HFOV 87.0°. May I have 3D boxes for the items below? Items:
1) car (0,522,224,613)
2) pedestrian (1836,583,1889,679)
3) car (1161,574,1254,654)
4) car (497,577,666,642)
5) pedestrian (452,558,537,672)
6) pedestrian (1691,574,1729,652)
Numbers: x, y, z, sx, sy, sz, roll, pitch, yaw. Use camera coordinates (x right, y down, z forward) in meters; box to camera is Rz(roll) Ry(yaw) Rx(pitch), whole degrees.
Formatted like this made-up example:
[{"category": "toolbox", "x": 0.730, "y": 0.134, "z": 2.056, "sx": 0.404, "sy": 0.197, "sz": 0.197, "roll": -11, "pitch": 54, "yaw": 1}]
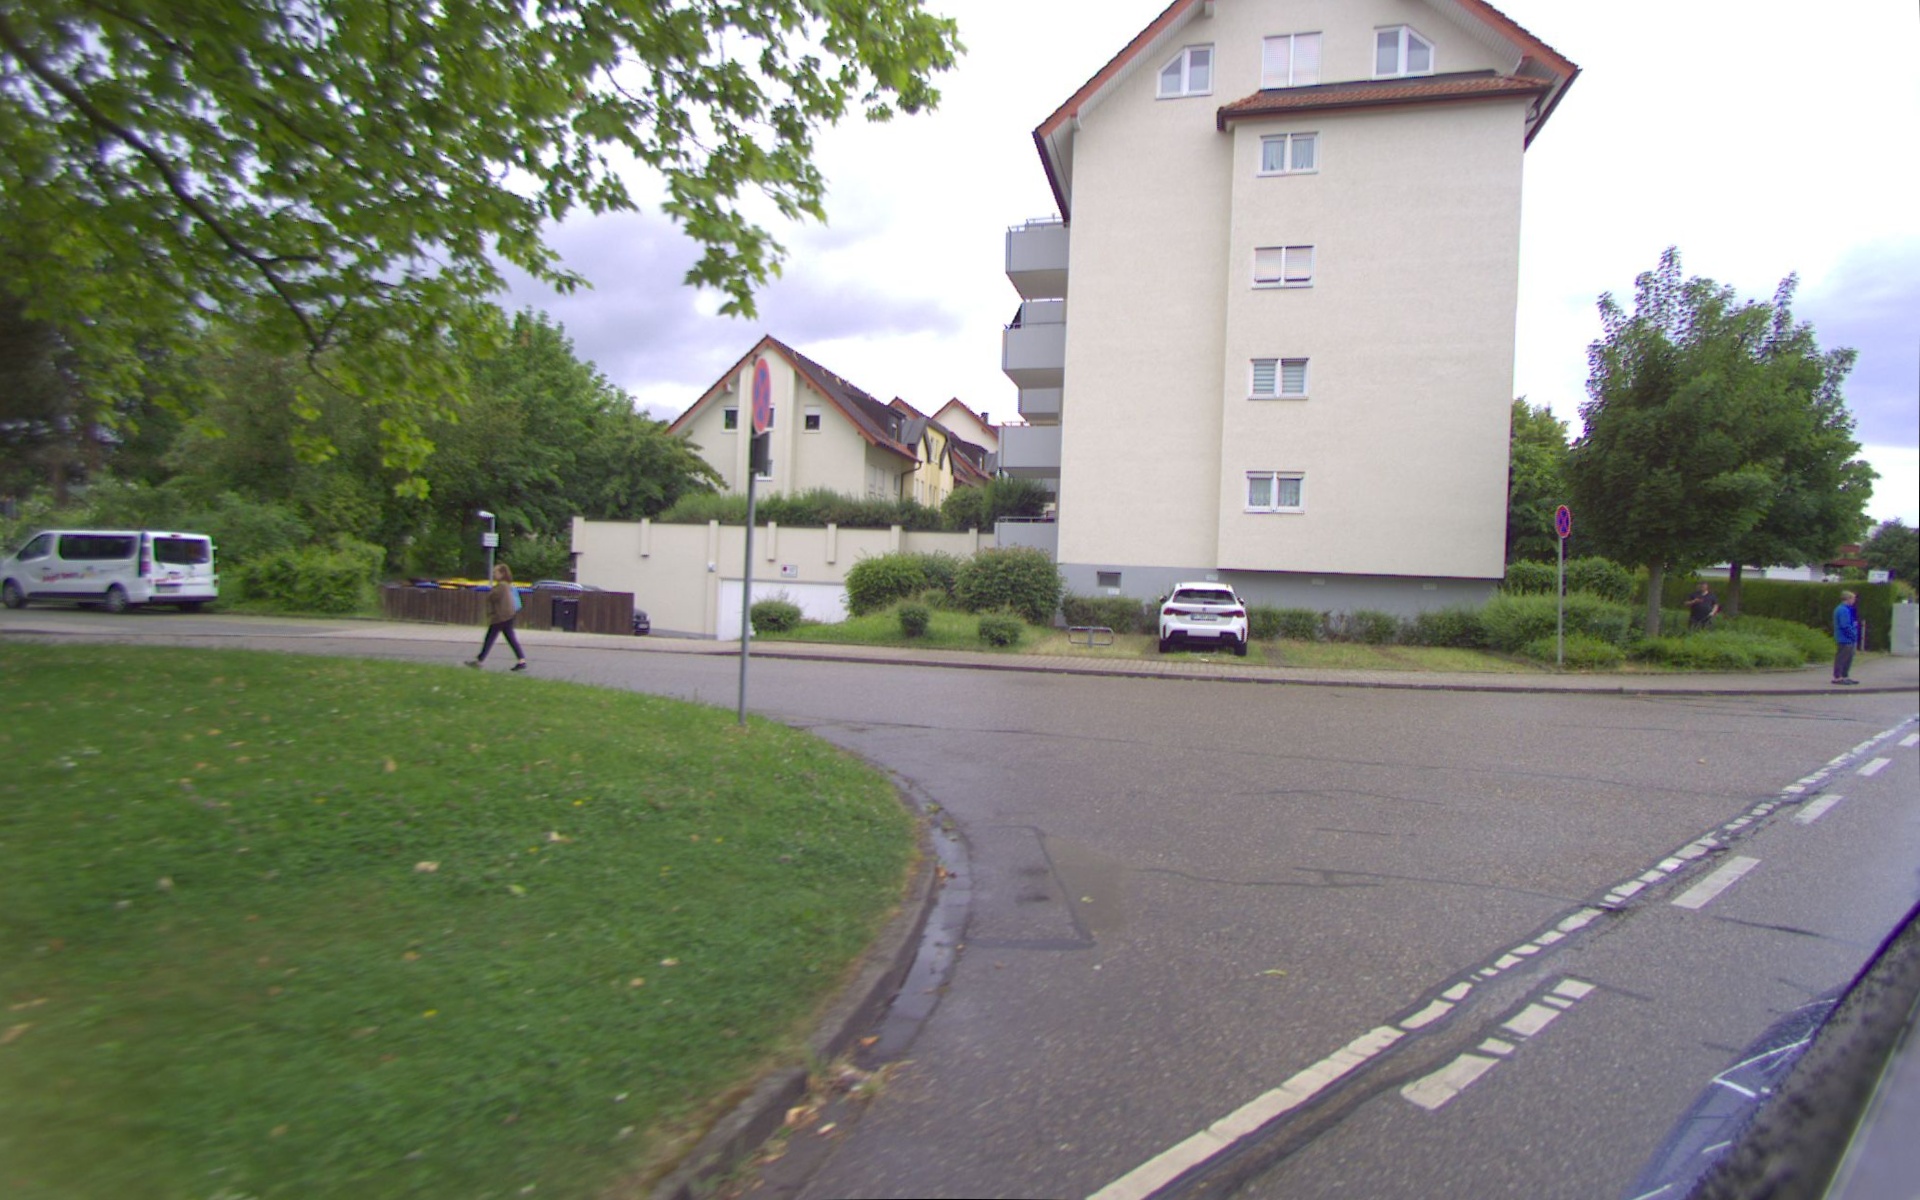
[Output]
[{"category": "car", "x": -20.981, "y": -0.813, "z": 24.896, "sx": 4.928, "sy": 2.039, "sz": 2.075, "roll": 2, "pitch": 1, "yaw": 17}, {"category": "pedestrian", "x": 16.390, "y": 0.549, "z": 18.392, "sx": 0.587, "sy": 1.687, "sz": 0.766, "roll": 1, "pitch": 0, "yaw": 32}, {"category": "car", "x": 5.259, "y": 0.220, "z": 21.789, "sx": 1.720, "sy": 1.499, "sz": 3.756, "roll": 3, "pitch": 2, "yaw": 12}, {"category": "car", "x": -12.132, "y": 0.266, "z": 32.461, "sx": 4.862, "sy": 1.846, "sz": 1.992, "roll": 2, "pitch": 1, "yaw": 17}, {"category": "pedestrian", "x": -6.708, "y": 0.205, "z": 14.629, "sx": 0.931, "sy": 1.603, "sz": 0.739, "roll": 1, "pitch": 0, "yaw": -8}, {"category": "pedestrian", "x": 17.682, "y": 0.303, "z": 23.868, "sx": 0.610, "sy": 1.795, "sz": 0.664, "roll": 1, "pitch": 0, "yaw": 29}]
